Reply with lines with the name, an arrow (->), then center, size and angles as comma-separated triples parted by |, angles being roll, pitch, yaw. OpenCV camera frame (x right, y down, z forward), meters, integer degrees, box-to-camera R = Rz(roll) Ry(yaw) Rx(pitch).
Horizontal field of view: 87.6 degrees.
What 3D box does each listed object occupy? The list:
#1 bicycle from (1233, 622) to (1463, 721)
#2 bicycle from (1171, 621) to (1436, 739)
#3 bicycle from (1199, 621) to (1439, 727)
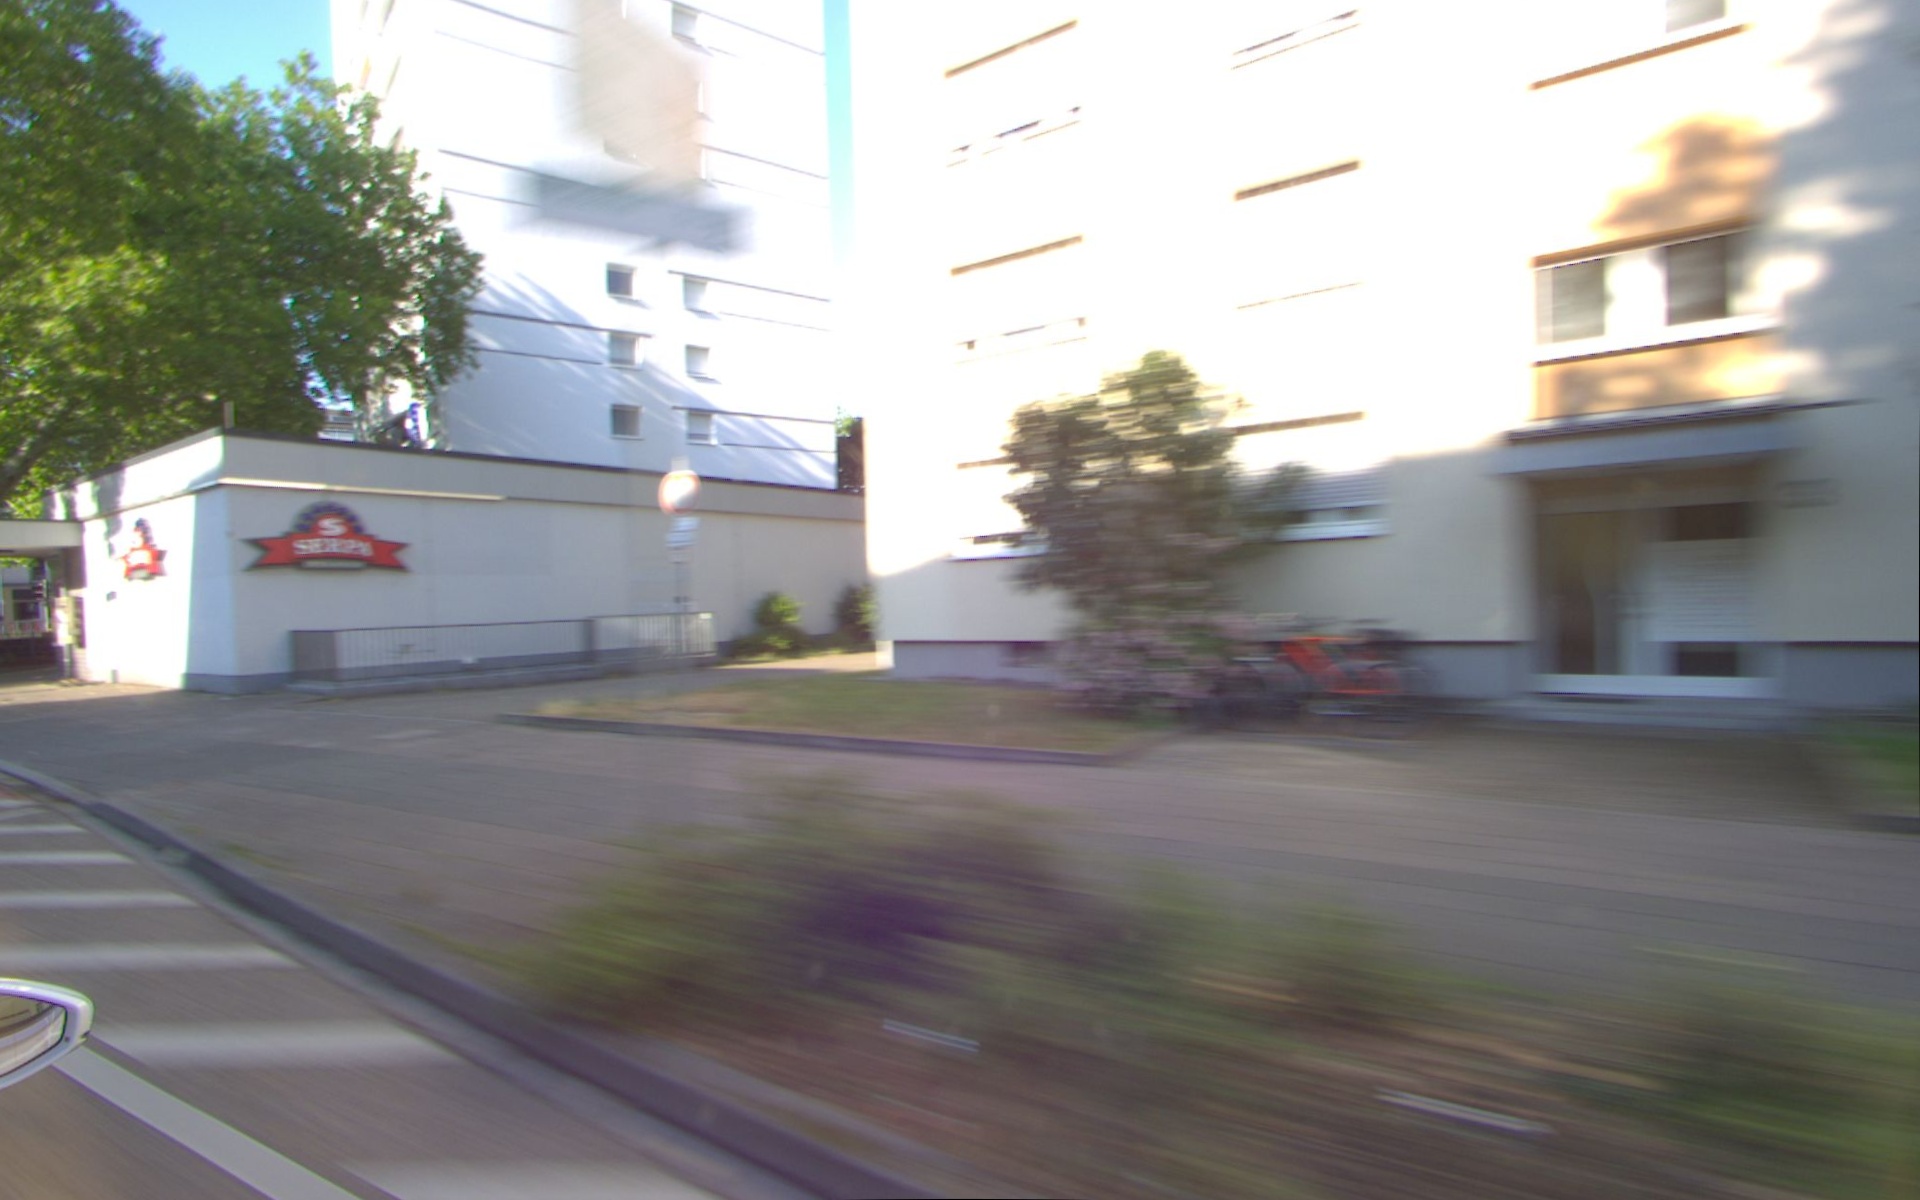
bicycle -> 4.107, 0.721, 10.688 | 2.197, 0.937, 0.635 | 1, 0, 32
bicycle -> 3.087, 0.679, 9.129 | 2.197, 0.937, 0.635 | 1, 0, 32
bicycle -> 3.593, 0.707, 10.130 | 2.197, 0.937, 0.635 | 1, 0, 32
